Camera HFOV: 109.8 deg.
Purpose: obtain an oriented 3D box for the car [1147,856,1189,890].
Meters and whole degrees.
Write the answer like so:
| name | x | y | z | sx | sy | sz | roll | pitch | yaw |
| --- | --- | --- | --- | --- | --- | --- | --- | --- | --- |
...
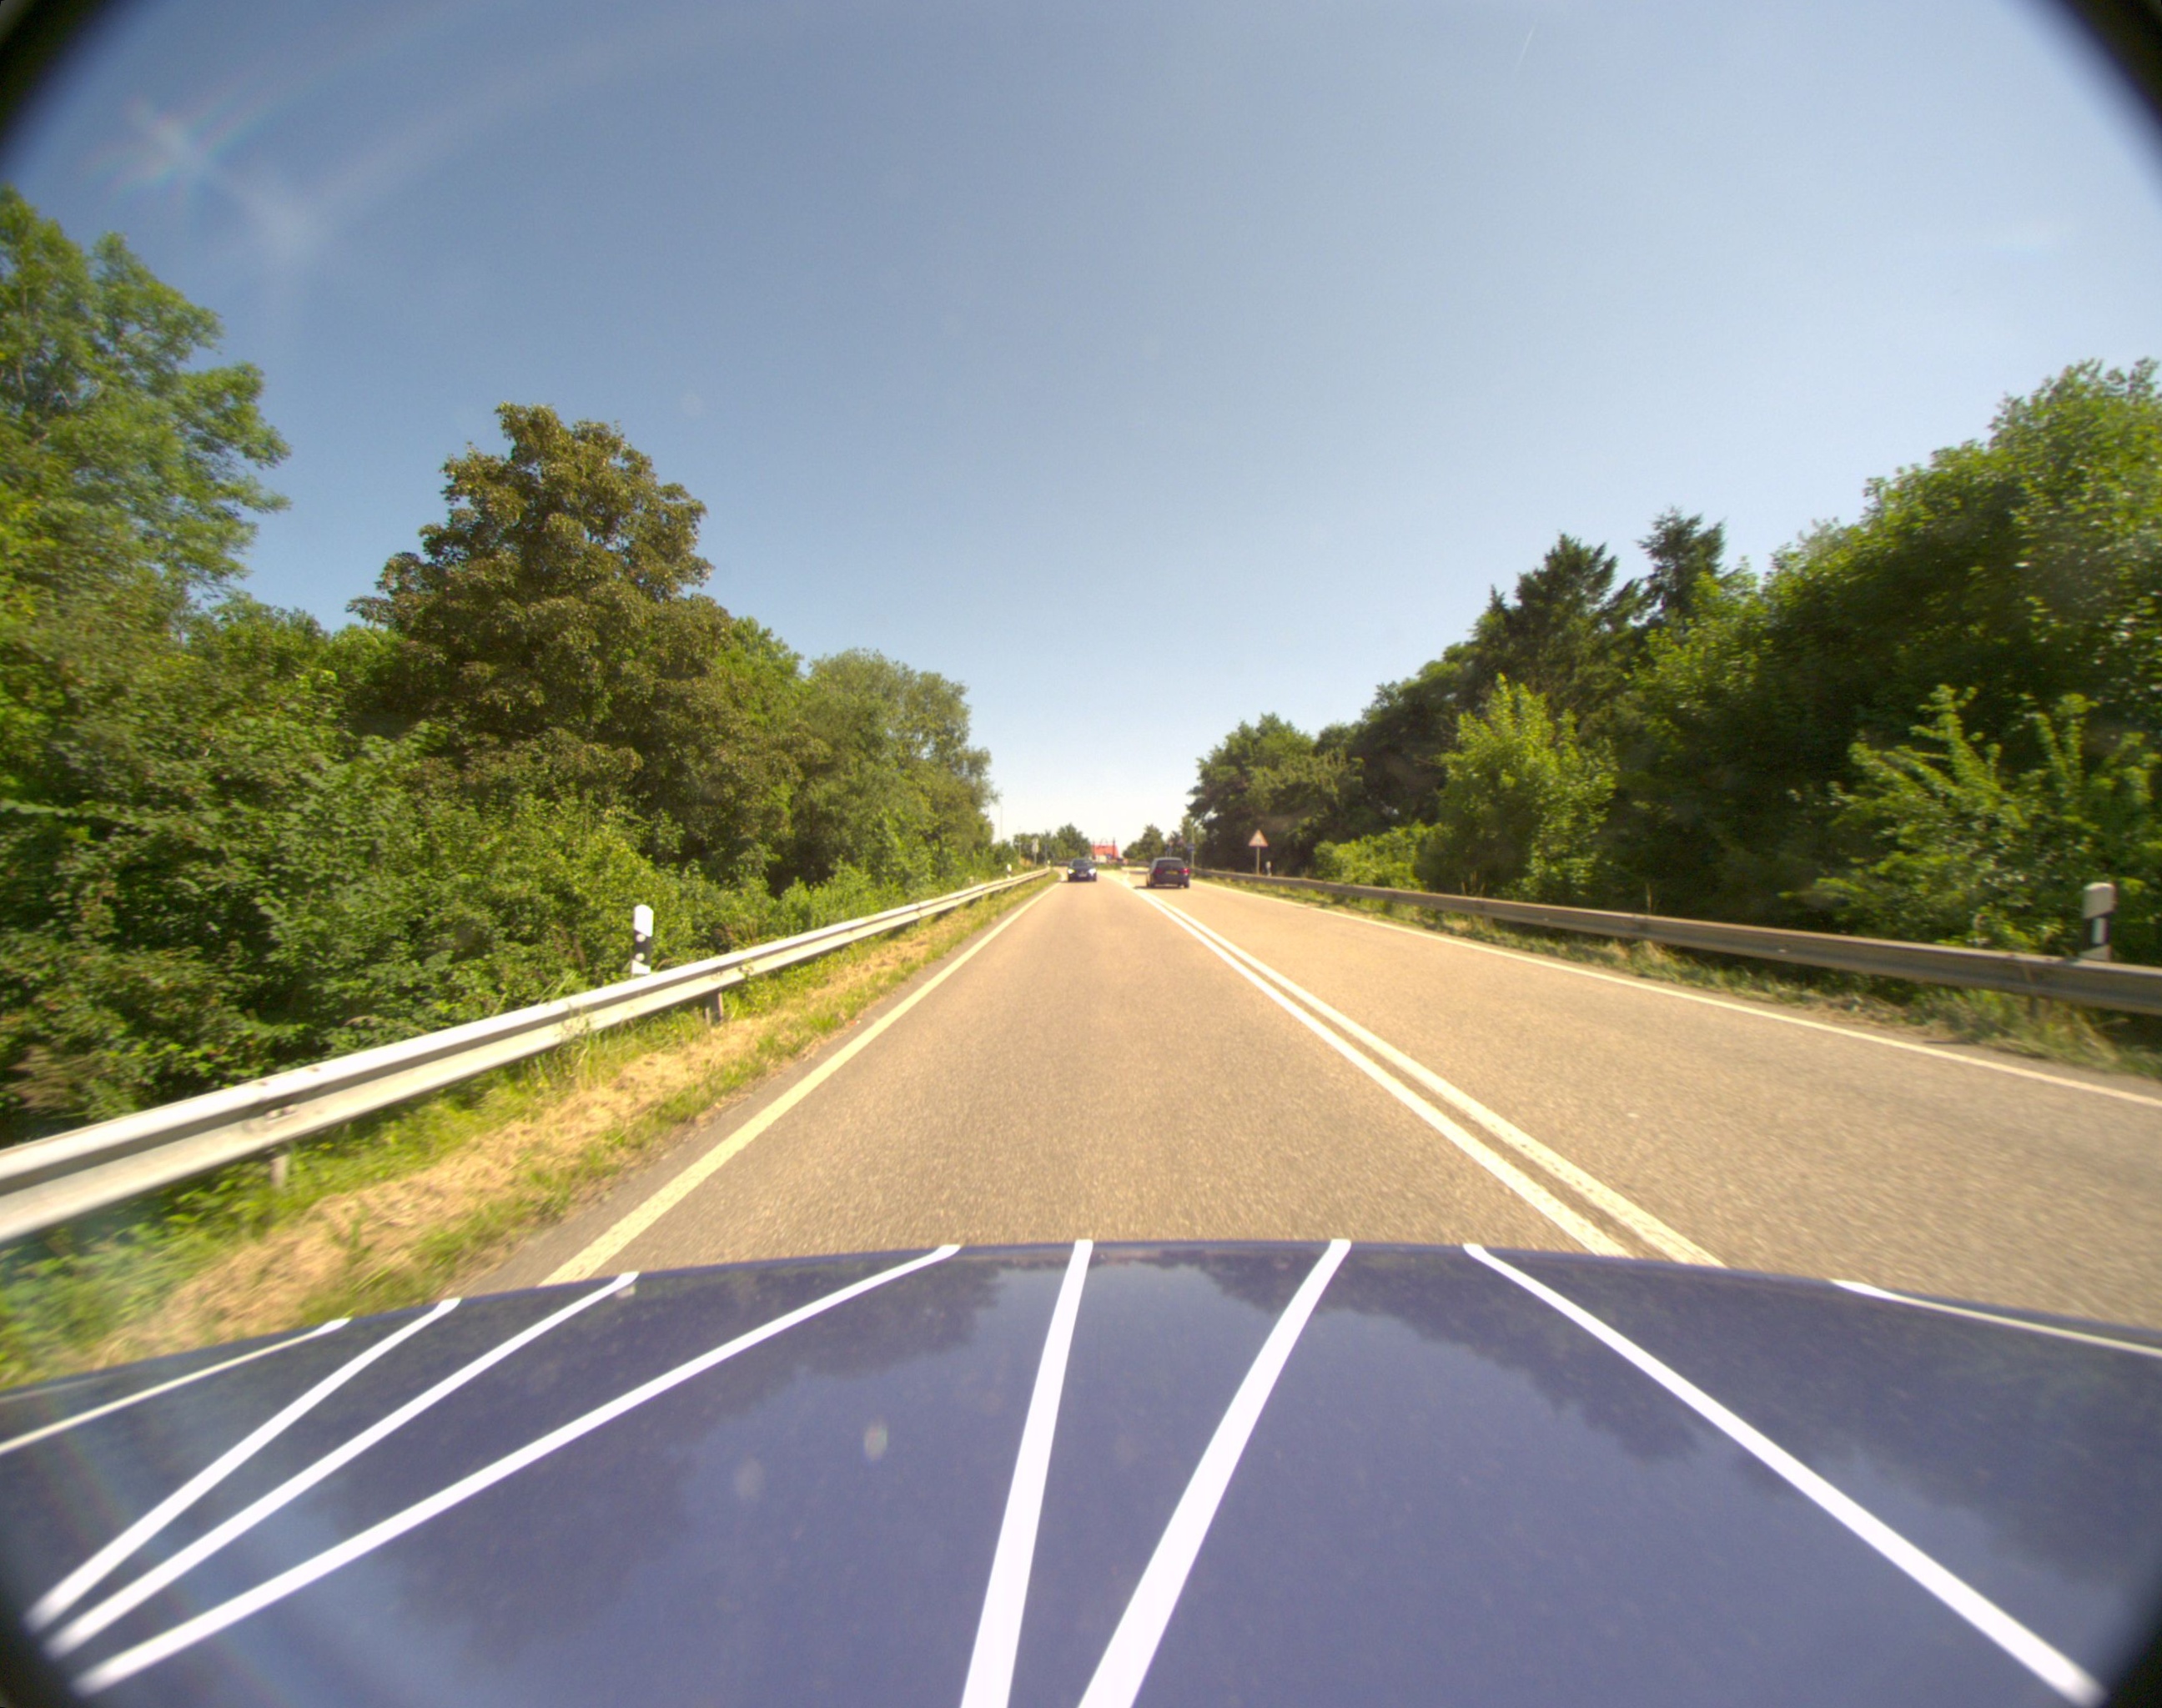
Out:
| name | x | y | z | sx | sy | sz | roll | pitch | yaw |
| --- | --- | --- | --- | --- | --- | --- | --- | --- | --- |
| car | 4.099 | 0.863 | 36.253 | 1.611 | 1.464 | 4.220 | 0 | 0 | 1 |

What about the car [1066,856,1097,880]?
| name | x | y | z | sx | sy | sz | roll | pitch | yaw |
| --- | --- | --- | --- | --- | --- | --- | --- | --- | --- |
| car | 0.052 | 0.830 | 47.067 | 1.806 | 1.390 | 4.180 | 0 | 0 | 1 |
